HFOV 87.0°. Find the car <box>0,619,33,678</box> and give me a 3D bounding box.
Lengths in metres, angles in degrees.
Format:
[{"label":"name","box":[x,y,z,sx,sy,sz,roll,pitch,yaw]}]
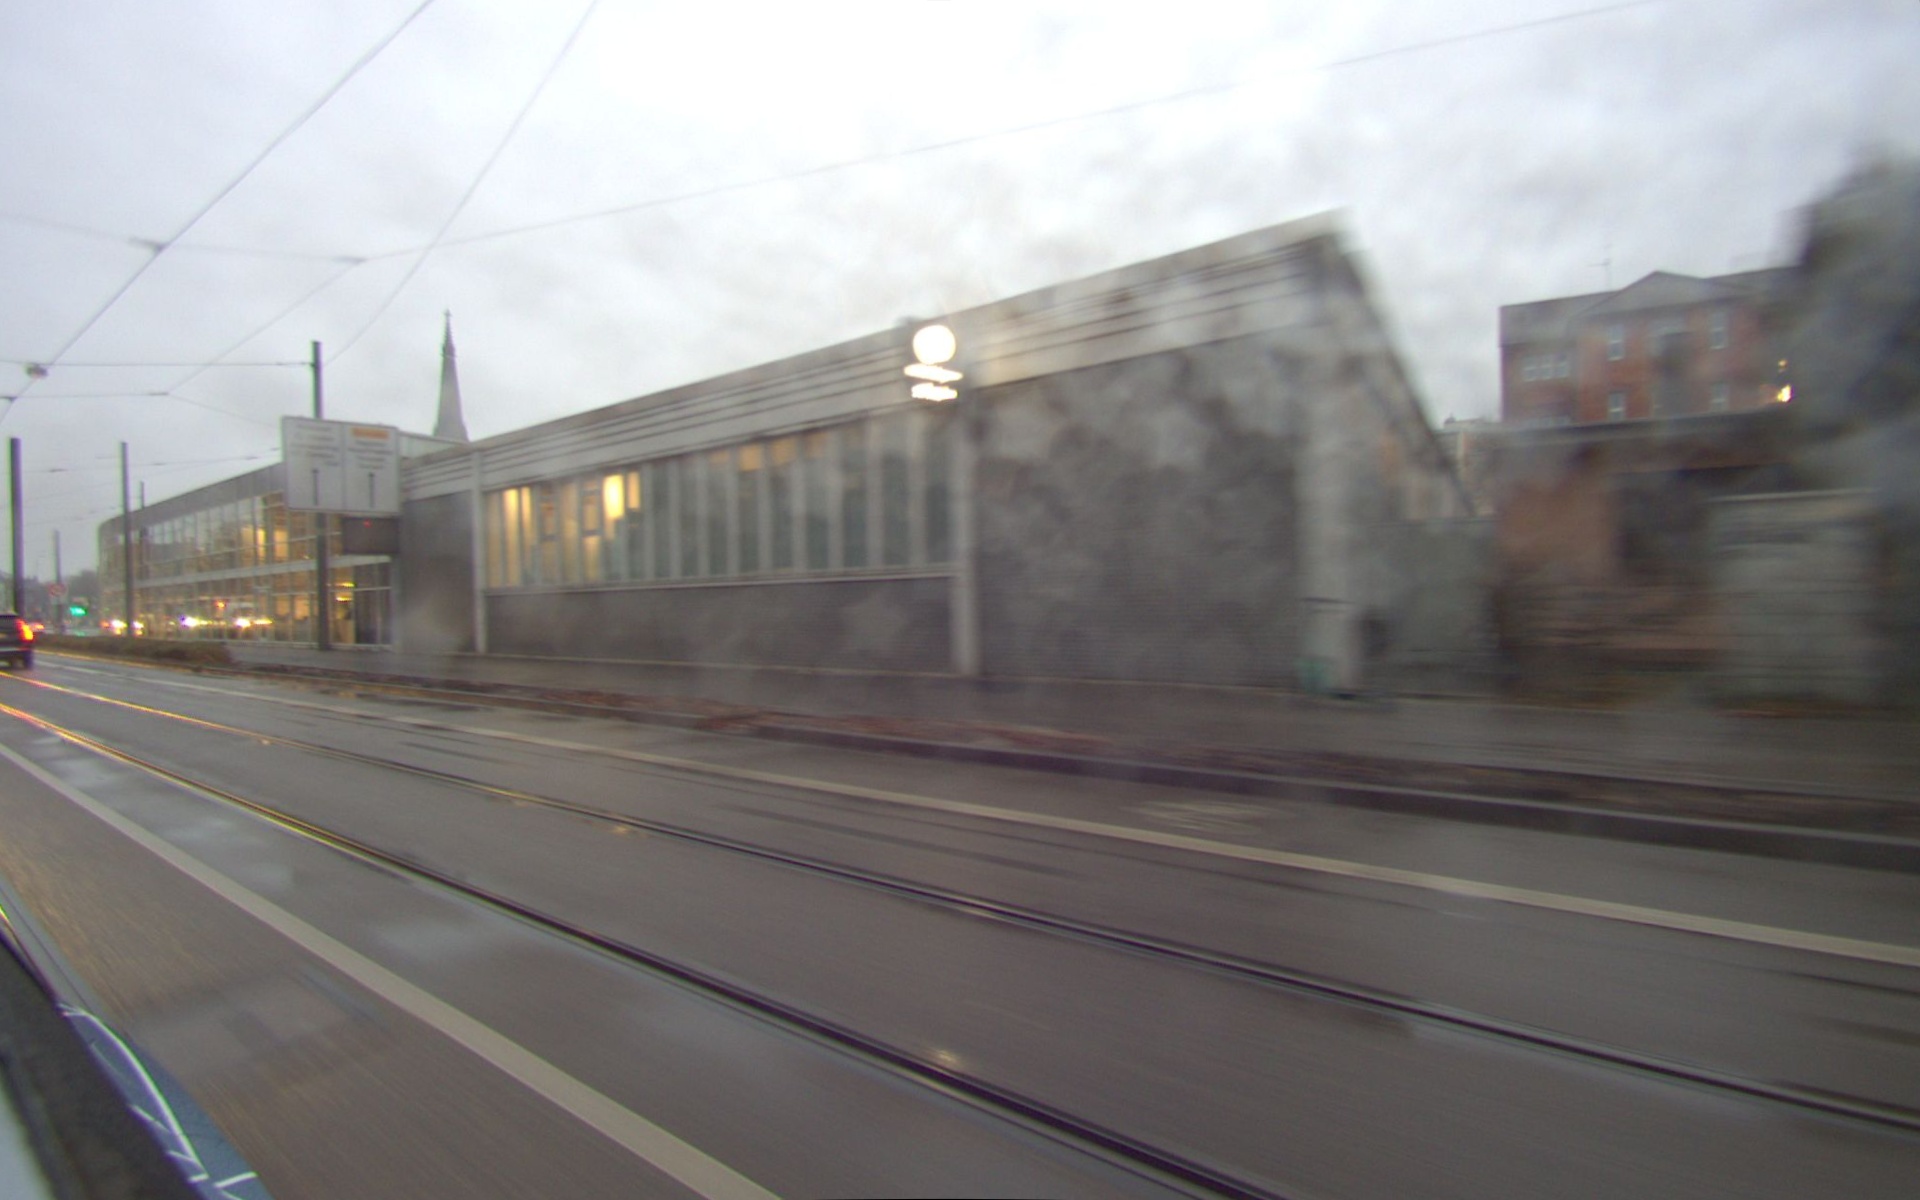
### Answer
[{"label":"car","box":[-30.117,1.472,31.083,4.757,1.723,1.856,-2,-2,40]}]
